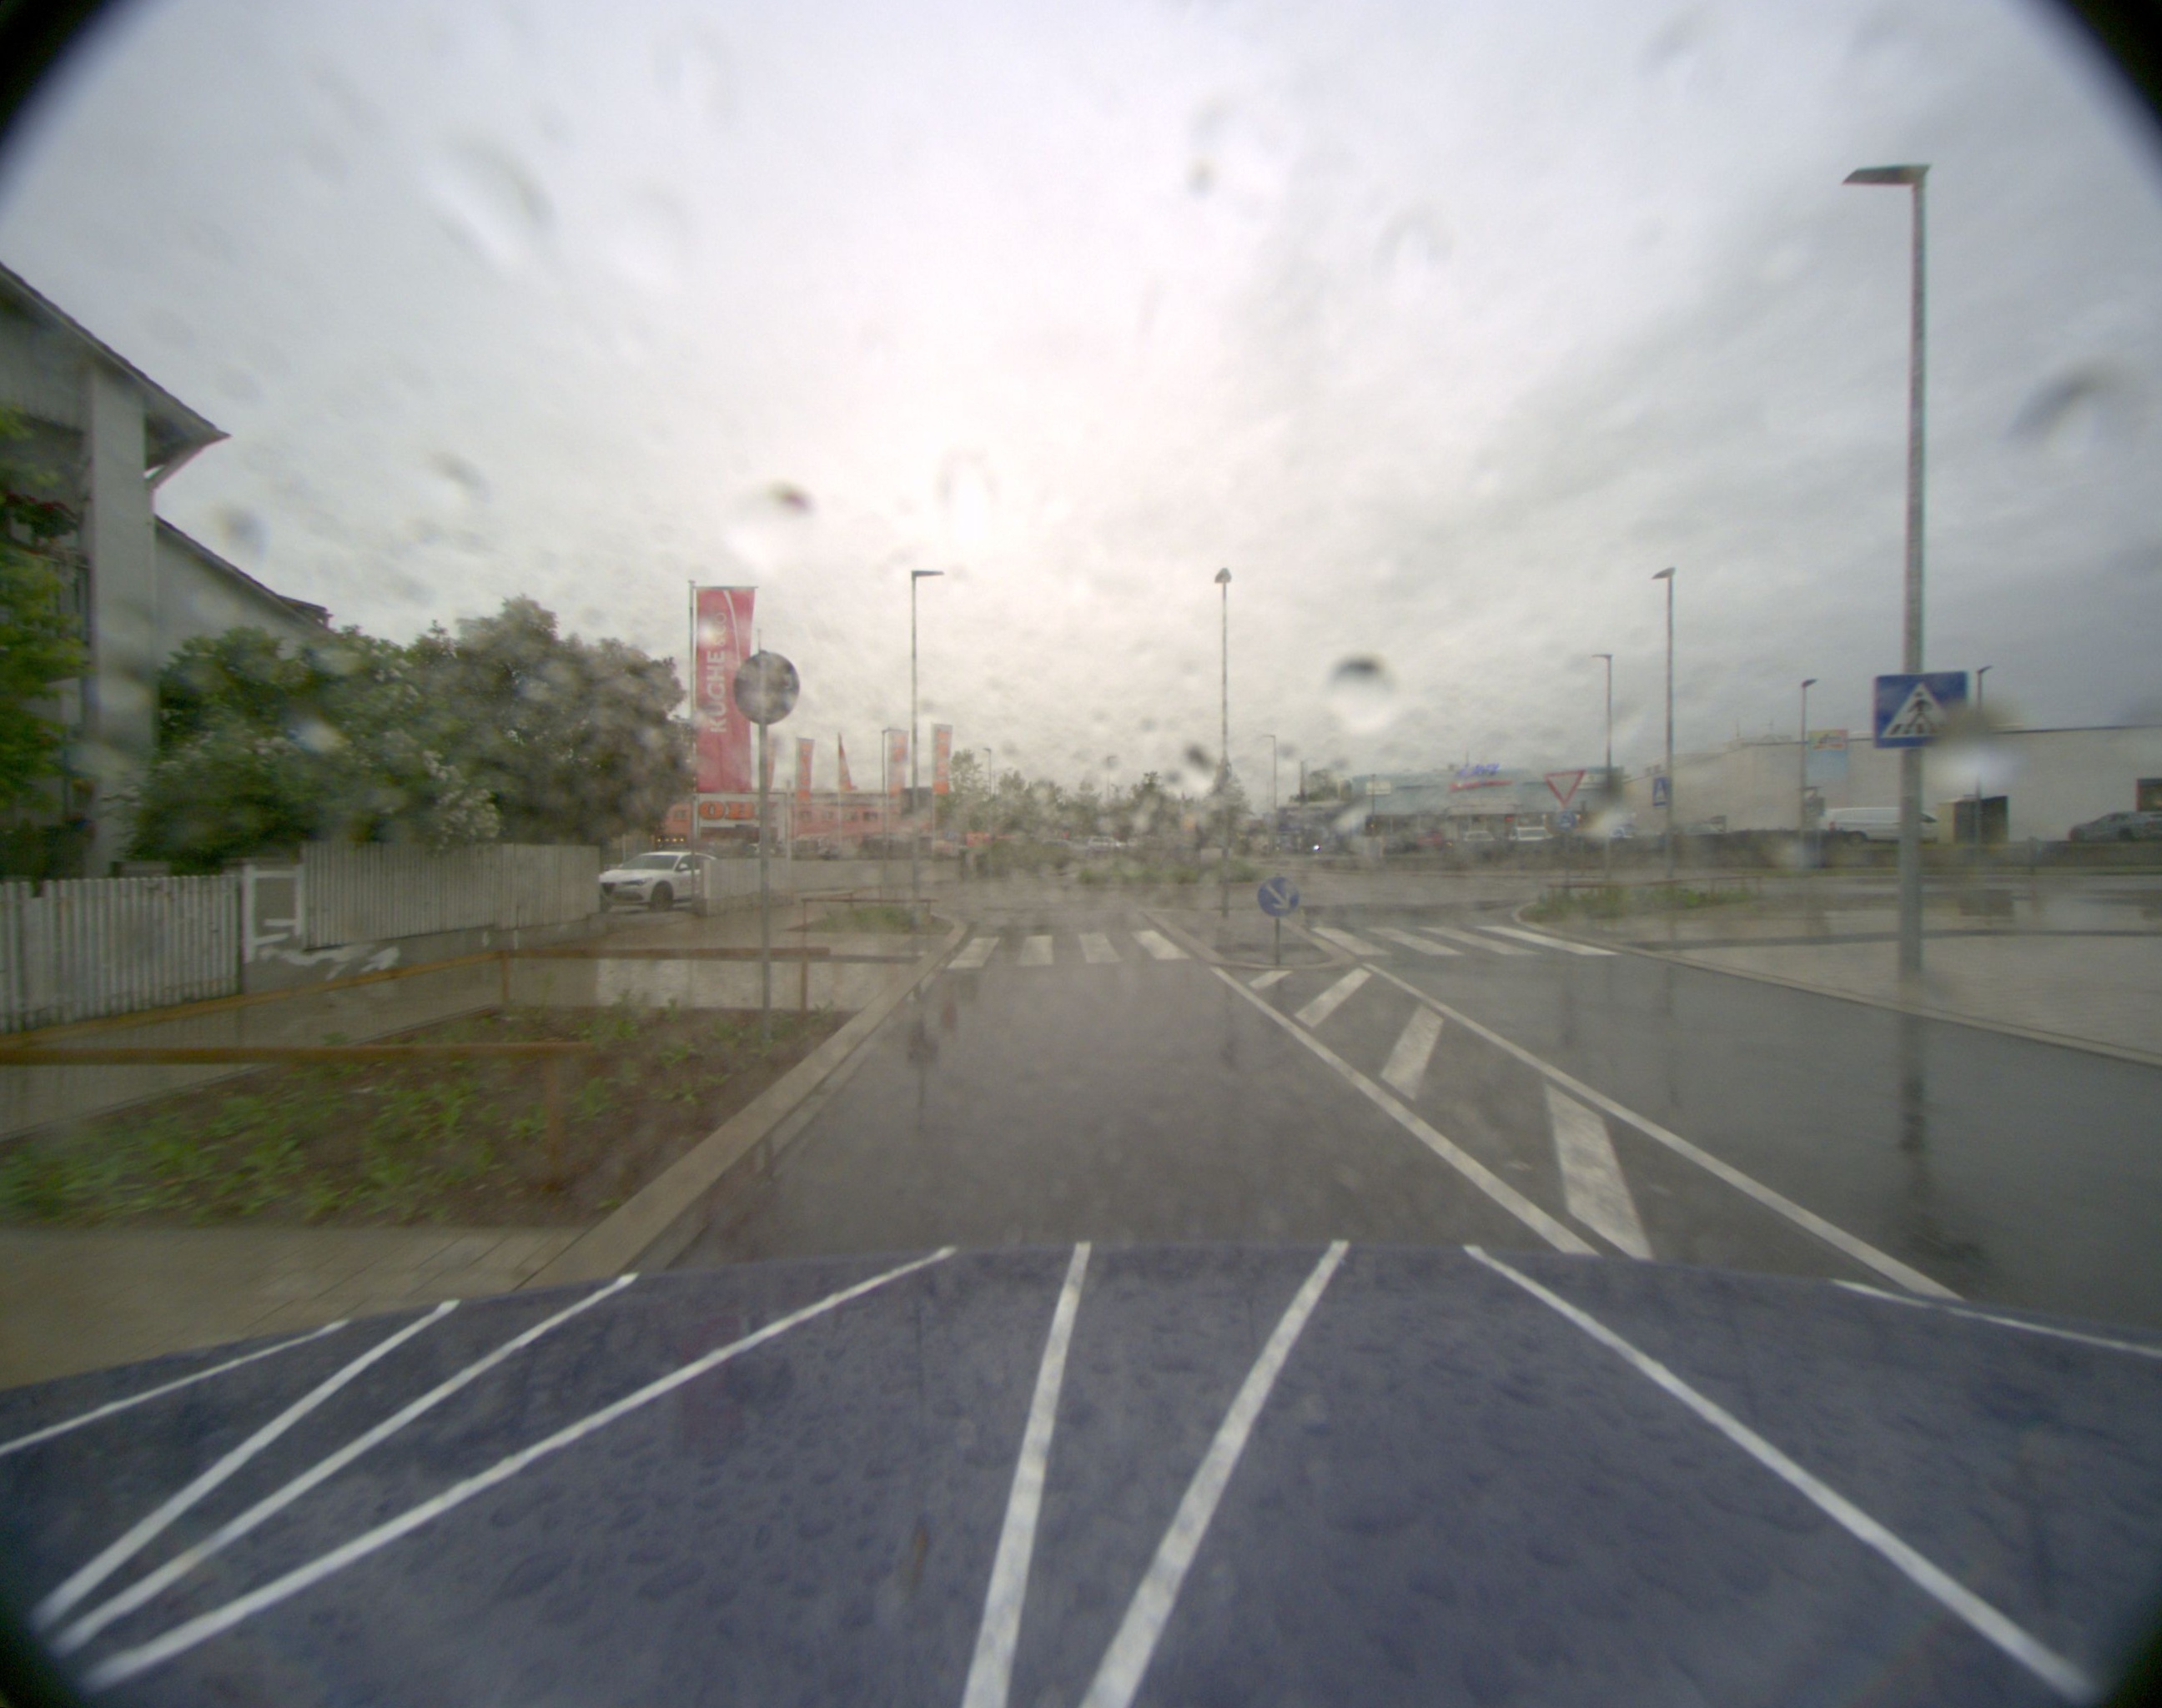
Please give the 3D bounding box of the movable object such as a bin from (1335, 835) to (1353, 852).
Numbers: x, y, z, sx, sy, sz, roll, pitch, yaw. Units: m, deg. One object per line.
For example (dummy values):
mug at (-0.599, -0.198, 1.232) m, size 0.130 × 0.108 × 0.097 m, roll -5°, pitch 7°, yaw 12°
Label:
movable object such as a bin at (21.601, -0.898, 62.287) m, size 1.212 × 1.288 × 1.481 m, roll -4°, pitch 0°, yaw 24°

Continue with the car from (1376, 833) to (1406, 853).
car at (22.996, -0.826, 56.207) m, size 1.884 × 1.288 × 4.006 m, roll -4°, pitch 0°, yaw 24°

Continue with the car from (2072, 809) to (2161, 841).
car at (54.018, -1.484, 39.170) m, size 1.790 × 1.543 × 4.006 m, roll -1°, pitch 0°, yaw 22°

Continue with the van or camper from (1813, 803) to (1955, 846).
van or camper at (39.474, -1.422, 37.511) m, size 4.372 × 1.751 × 1.891 m, roll -4°, pitch 0°, yaw 24°

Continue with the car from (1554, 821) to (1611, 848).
car at (27.048, -1.046, 41.098) m, size 1.884 × 1.288 × 4.006 m, roll -4°, pitch 0°, yaw 24°

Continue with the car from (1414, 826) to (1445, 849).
car at (25.499, -1.194, 55.667) m, size 1.884 × 1.477 × 4.006 m, roll -4°, pitch 0°, yaw 24°

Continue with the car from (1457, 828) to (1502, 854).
car at (22.337, -0.744, 42.679) m, size 1.884 × 1.288 × 4.006 m, roll -4°, pitch 0°, yaw 24°

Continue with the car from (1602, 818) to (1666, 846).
car at (29.128, -1.166, 40.163) m, size 1.884 × 1.288 × 4.006 m, roll -4°, pitch 0°, yaw 24°

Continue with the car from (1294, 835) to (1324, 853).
car at (20.692, -0.940, 68.913) m, size 1.917 × 1.521 × 4.007 m, roll -3°, pitch 0°, yaw 26°

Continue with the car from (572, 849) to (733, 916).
car at (-11.790, 0.735, 21.278) m, size 1.845 × 1.681 × 4.172 m, roll 0°, pitch 0°, yaw 5°

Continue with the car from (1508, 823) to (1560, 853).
car at (25.066, -0.894, 42.185) m, size 1.790 × 1.543 × 4.005 m, roll -1°, pitch 0°, yaw 20°

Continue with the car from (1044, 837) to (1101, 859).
car at (-0.707, -0.462, 61.704) m, size 4.095 × 1.696 × 2.004 m, roll -1°, pitch 0°, yaw 27°

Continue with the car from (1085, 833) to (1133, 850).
car at (2.638, -1.136, 71.151) m, size 3.990 × 1.433 × 2.003 m, roll -1°, pitch 0°, yaw 24°
